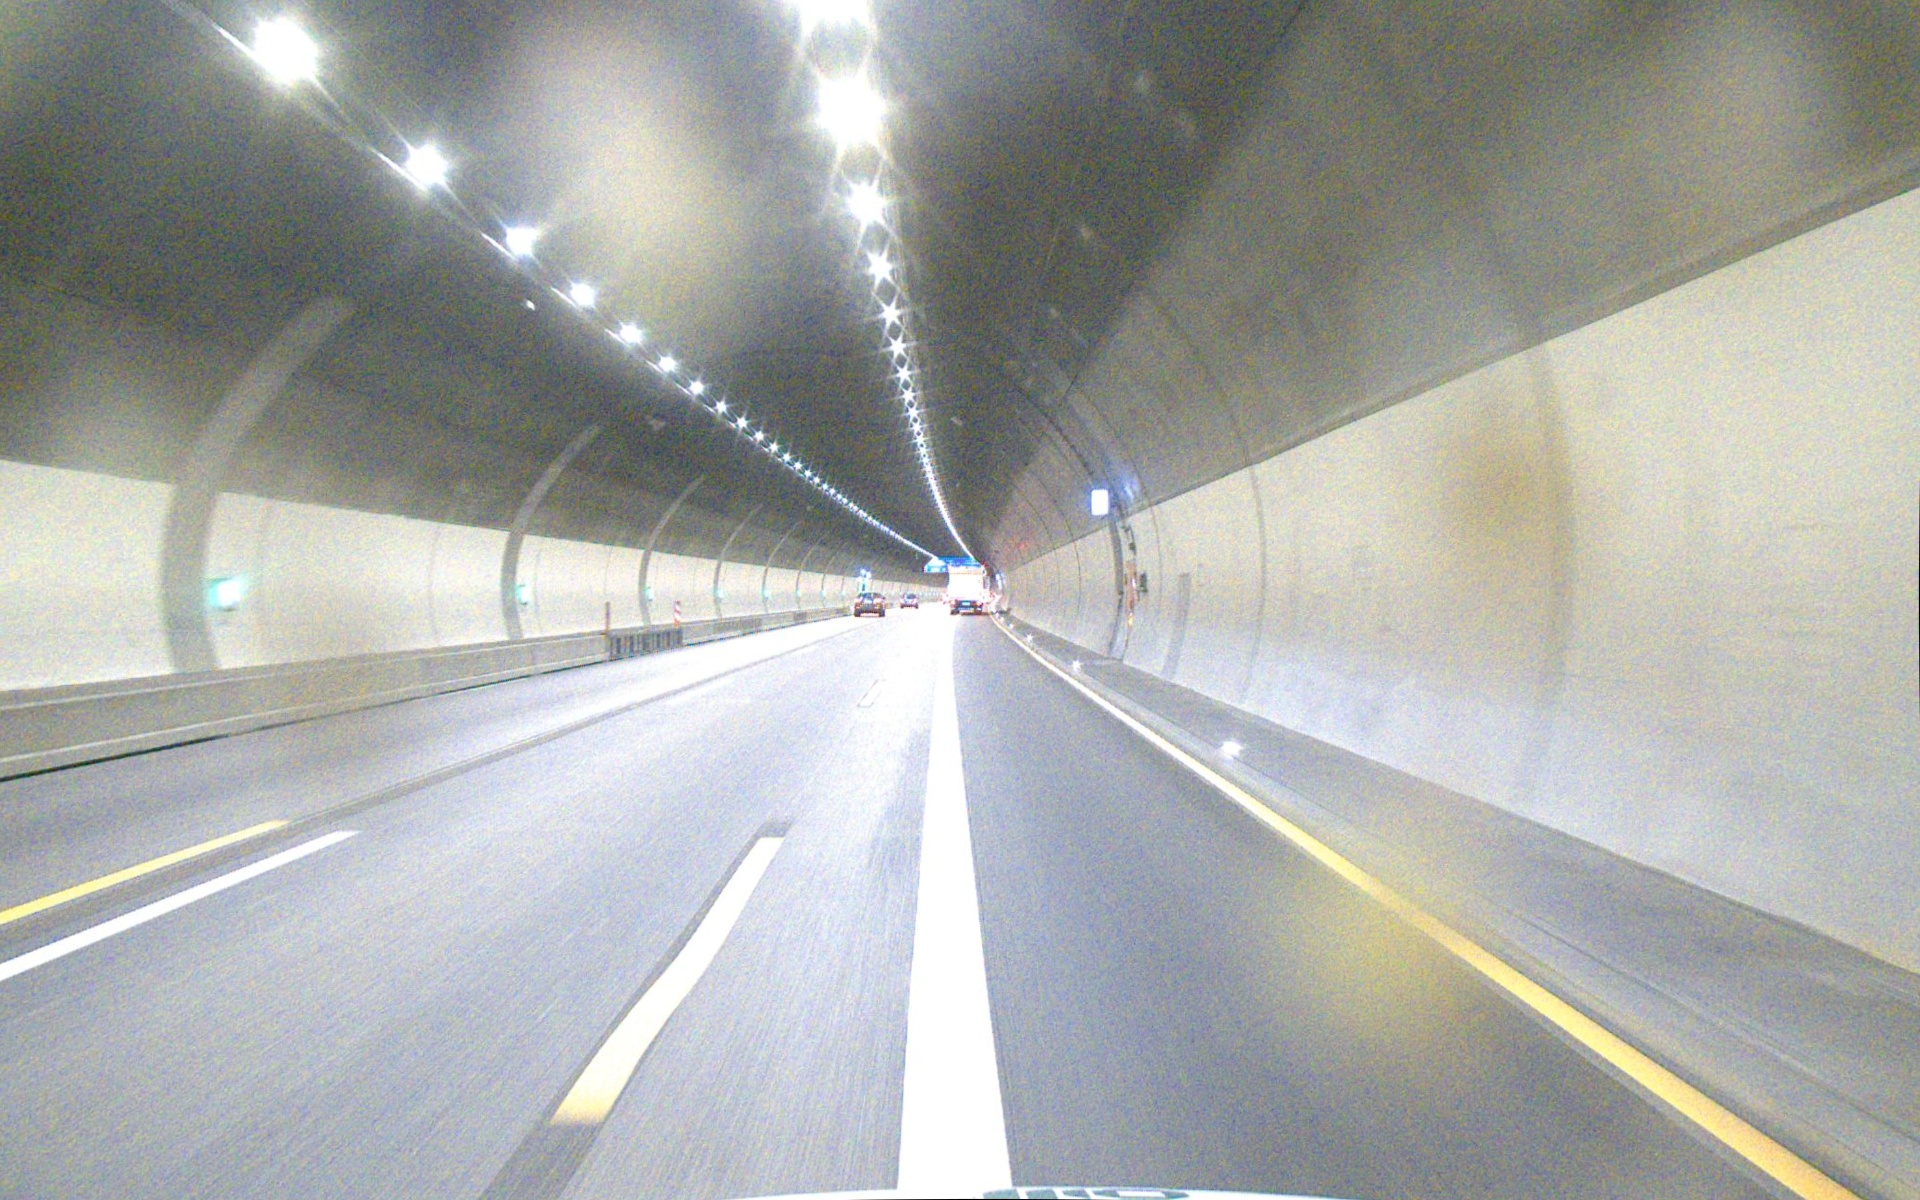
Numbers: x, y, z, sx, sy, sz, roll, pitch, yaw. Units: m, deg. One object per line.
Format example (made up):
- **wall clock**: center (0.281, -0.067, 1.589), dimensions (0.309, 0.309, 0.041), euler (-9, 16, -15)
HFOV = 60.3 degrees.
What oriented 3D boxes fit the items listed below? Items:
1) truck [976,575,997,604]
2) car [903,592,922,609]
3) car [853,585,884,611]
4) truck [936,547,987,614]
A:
- **truck**: center (3.903, -1.539, 248.761), dimensions (2.863, 4.118, 14.028), euler (-1, 0, 0)
- **car**: center (-4.618, 0.050, 159.631), dimensions (1.776, 1.546, 3.999), euler (0, 2, -2)
- **car**: center (-5.767, -0.136, 104.499), dimensions (1.776, 1.646, 3.999), euler (0, 1, -1)
- **truck**: center (-0.024, -1.428, 127.469), dimensions (3.213, 4.731, 17.279), euler (-1, 0, -2)
